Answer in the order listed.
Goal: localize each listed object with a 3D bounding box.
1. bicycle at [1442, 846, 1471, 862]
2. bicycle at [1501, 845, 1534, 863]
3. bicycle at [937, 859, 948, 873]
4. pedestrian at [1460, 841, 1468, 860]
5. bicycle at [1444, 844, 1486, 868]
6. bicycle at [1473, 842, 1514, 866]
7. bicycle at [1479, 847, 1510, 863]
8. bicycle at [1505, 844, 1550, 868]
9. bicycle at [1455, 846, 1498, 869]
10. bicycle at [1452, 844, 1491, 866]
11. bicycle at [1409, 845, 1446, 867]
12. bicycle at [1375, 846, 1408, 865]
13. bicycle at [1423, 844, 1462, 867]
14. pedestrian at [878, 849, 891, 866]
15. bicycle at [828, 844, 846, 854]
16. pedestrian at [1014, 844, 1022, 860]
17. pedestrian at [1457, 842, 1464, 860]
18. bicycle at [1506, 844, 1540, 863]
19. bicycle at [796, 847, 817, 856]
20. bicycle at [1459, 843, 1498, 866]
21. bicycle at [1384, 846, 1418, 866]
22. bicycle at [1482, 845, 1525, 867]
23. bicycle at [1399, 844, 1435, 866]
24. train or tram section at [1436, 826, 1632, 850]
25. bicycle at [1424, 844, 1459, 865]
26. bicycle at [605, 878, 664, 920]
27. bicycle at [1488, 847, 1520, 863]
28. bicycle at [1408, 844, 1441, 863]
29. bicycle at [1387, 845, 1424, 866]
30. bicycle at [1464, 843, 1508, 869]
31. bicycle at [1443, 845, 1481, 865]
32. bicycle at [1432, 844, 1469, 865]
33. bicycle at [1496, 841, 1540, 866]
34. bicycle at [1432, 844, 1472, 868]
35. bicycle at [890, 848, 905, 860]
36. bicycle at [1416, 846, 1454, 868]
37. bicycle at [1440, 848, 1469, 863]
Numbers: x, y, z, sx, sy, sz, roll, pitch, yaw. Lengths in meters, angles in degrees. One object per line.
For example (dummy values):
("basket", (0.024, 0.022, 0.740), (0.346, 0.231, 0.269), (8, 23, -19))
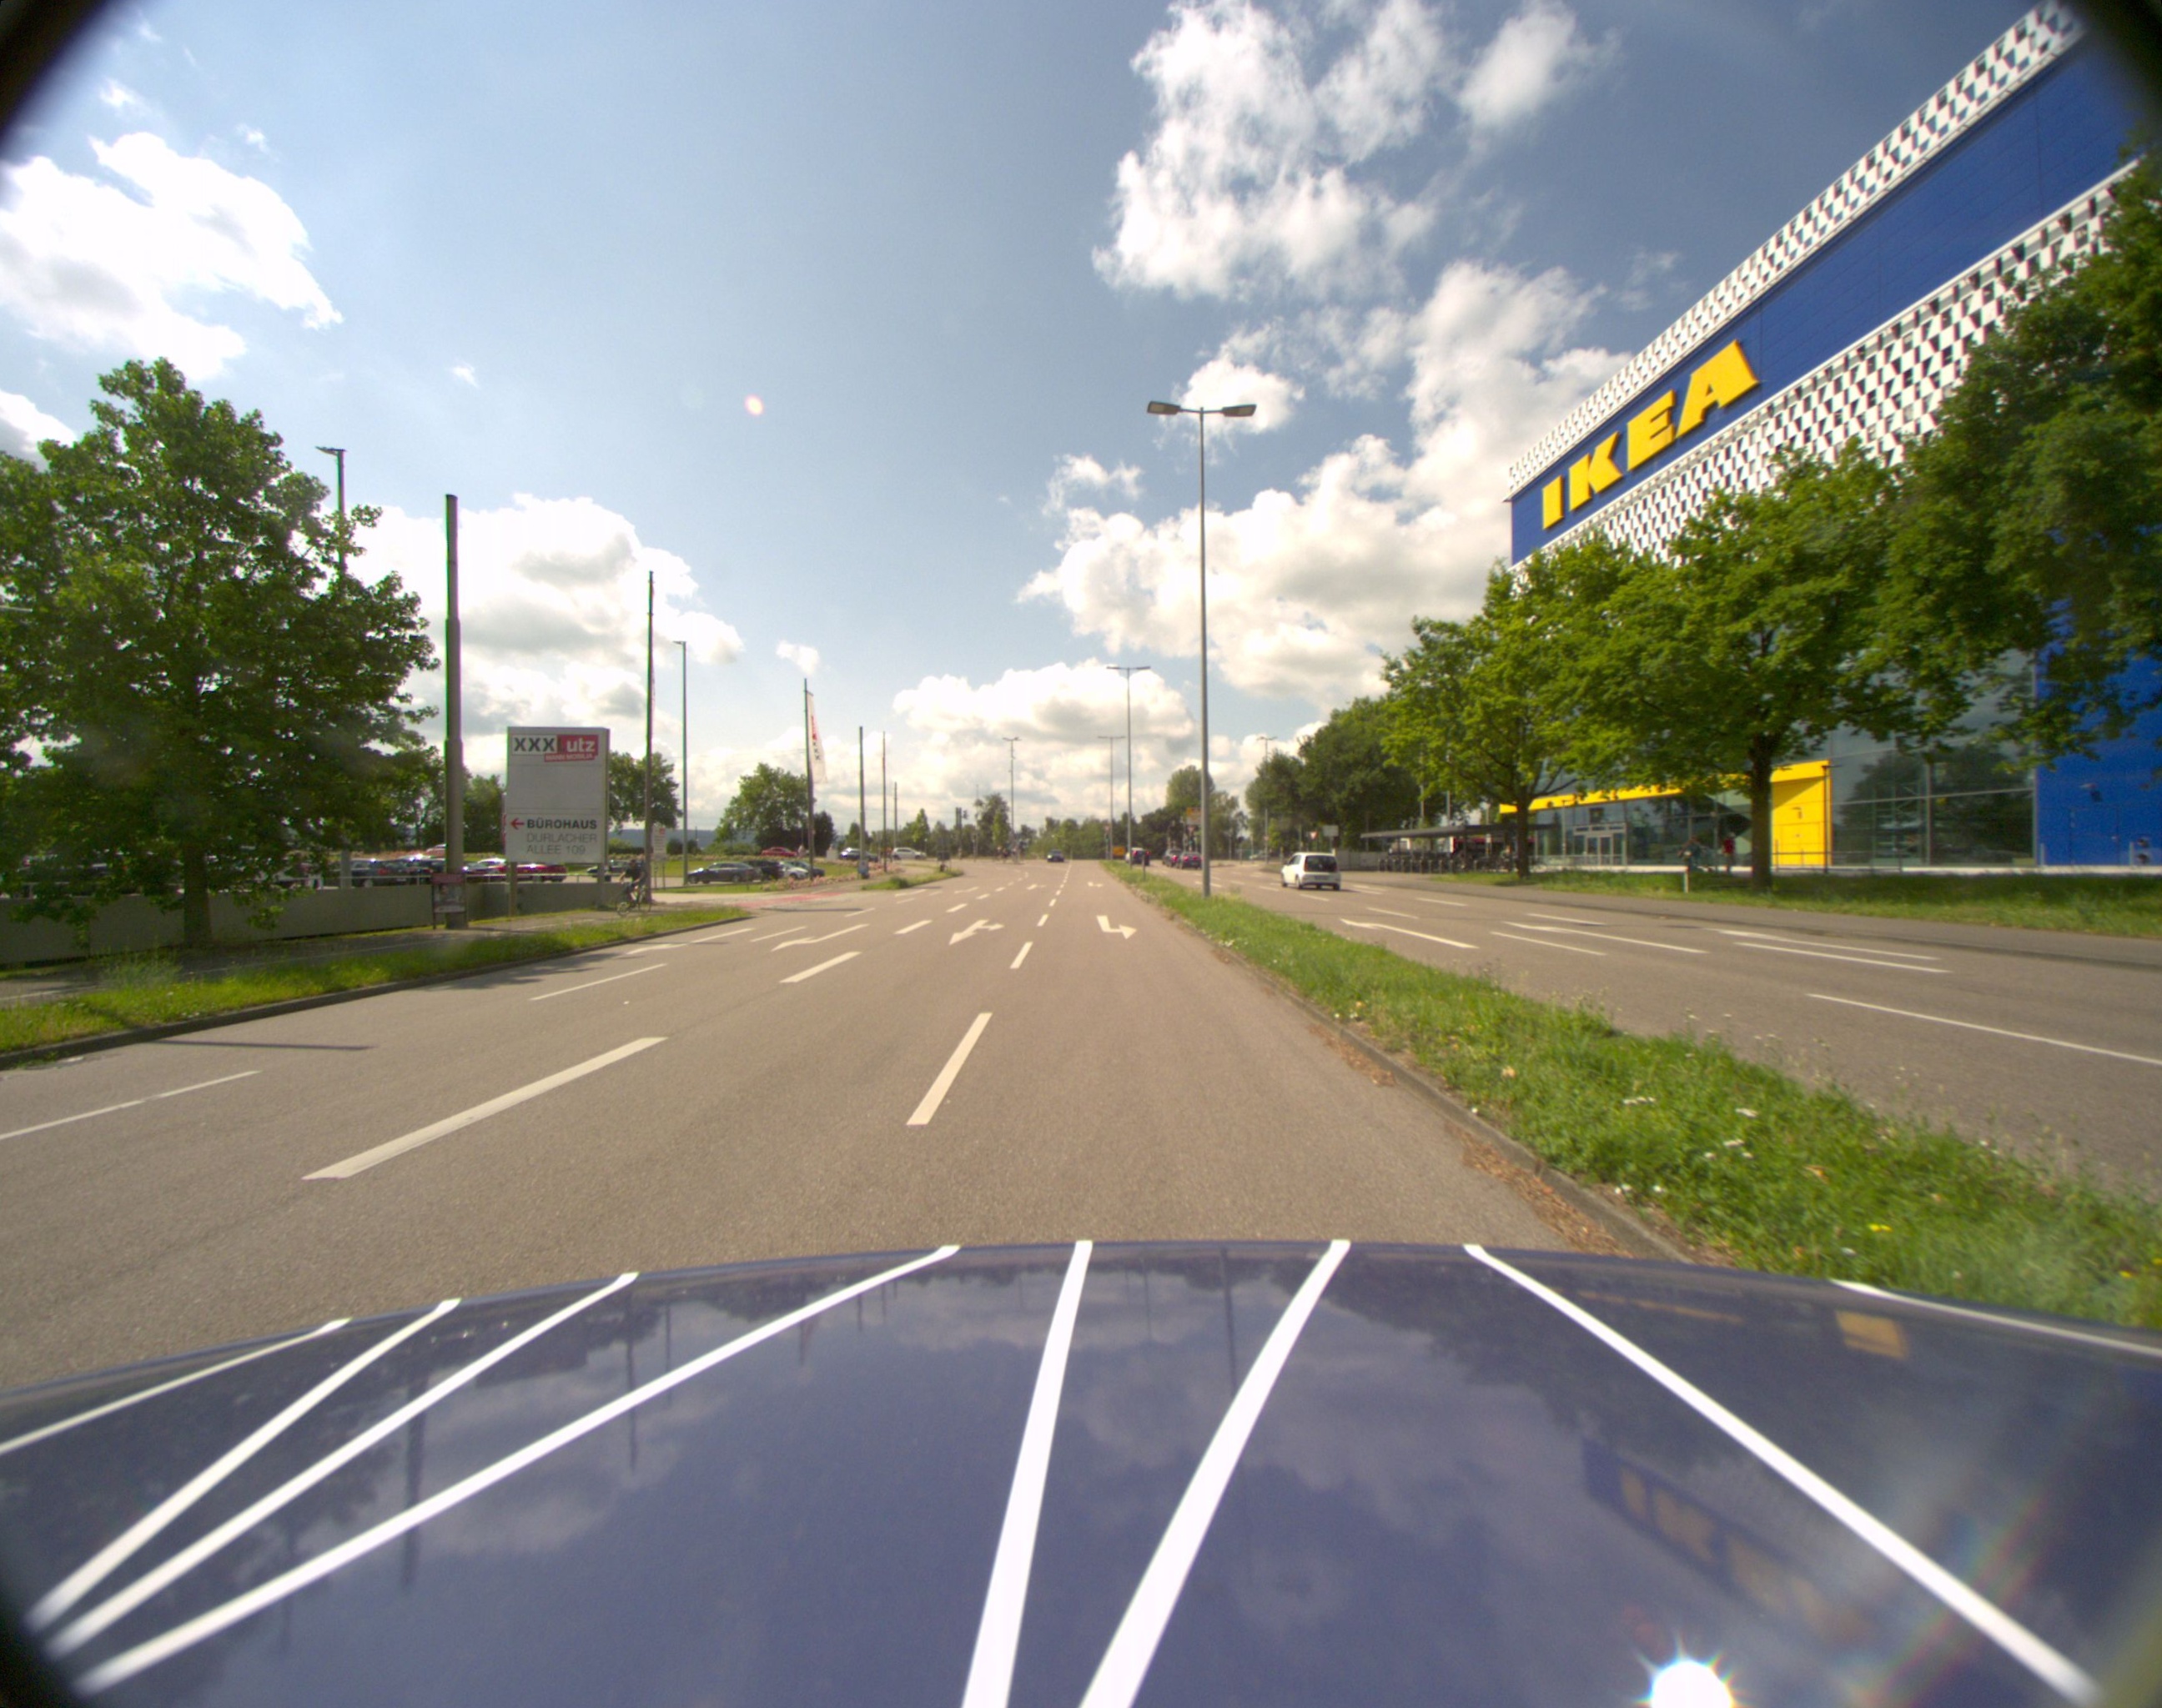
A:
("bicycle", (28.069, 0.028, 56.850), (1.961, 1.165, 0.467), (-1, 0, -4))
("bicycle", (29.013, 0.003, 50.553), (1.939, 1.203, 0.529), (-1, 1, -4))
("bicycle", (-10.074, 0.852, 55.418), (0.518, 0.947, 1.543), (-1, 1, 0))
("pedestrian", (35.676, -0.316, 70.731), (0.410, 1.693, 0.516), (-1, 0, -6))
("bicycle", (20.869, 0.112, 41.280), (1.930, 1.265, 0.629), (-1, 0, 0))
("bicycle", (23.071, 0.014, 42.555), (1.930, 1.265, 0.629), (-1, 0, 0))
("bicycle", (28.874, 0.045, 53.056), (1.935, 1.083, 0.520), (-1, 0, -4))
("bicycle", (23.006, 0.101, 39.156), (1.930, 1.177, 0.629), (-1, 0, 0))
("bicycle", (20.876, 0.176, 40.128), (1.930, 1.176, 0.629), (-1, 0, 0))
("bicycle", (23.143, 0.061, 45.024), (1.930, 1.265, 0.629), (-1, 0, 0))
("bicycle", (21.021, 0.106, 46.092), (1.930, 1.265, 0.629), (-1, 0, 0))
("bicycle", (20.855, 0.101, 51.025), (1.930, 1.265, 0.629), (-1, 0, 0))
("bicycle", (20.922, 0.095, 43.937), (1.930, 1.265, 0.629), (-1, 0, 0))
("pedestrian", (-20.300, 0.361, 78.552), (0.860, 1.755, 0.867), (-1, 1, 27))
("bicycle", (-25.569, -0.507, 79.681), (1.695, 0.955, 0.666), (-1, 0, 1))
("pedestrian", (-6.918, -0.245, 83.700), (0.688, 1.718, 0.701), (0, 2, 11))
("pedestrian", (35.587, -0.256, 71.311), (0.404, 1.693, 0.450), (-1, 0, -6))
("bicycle", (29.015, -0.050, 49.873), (1.950, 1.236, 0.597), (-1, 1, -4))
("bicycle", (-29.007, -0.255, 80.317), (1.985, 0.955, 0.597), (-1, 0, 4))
("bicycle", (23.019, 0.046, 44.016), (1.930, 1.265, 0.629), (-1, 0, 0))
("bicycle", (20.891, 0.117, 49.678), (1.930, 1.265, 0.629), (-1, 0, 0))
("bicycle", (22.911, 0.102, 41.234), (1.930, 1.172, 0.629), (-1, 0, 0))
("bicycle", (20.933, 0.065, 47.381), (1.930, 1.265, 0.629), (-1, 0, 0))
("train or tram section", (63.430, -2.193, 106.785), (25.113, 3.014, 4.529), (1, 0, -1))
("bicycle", (23.101, 0.052, 48.723), (1.930, 1.265, 0.629), (-1, 0, 0))
("bicycle", (-12.462, 1.230, 21.272), (0.625, 1.061, 1.967), (0, 0, -5))
("bicycle", (28.977, 0.047, 52.089), (1.939, 1.064, 0.529), (-1, 1, -4))
("bicycle", (23.069, -0.027, 51.024), (1.930, 1.265, 0.629), (-1, 0, 0))
("bicycle", (20.789, 0.116, 48.642), (2.094, 1.265, 0.629), (-1, 0, 0))
("bicycle", (20.792, 0.086, 39.033), (1.930, 1.265, 0.629), (-1, 0, 0))
("bicycle", (23.061, 0.071, 46.026), (1.930, 1.176, 0.629), (-1, 0, 0))
("bicycle", (23.038, 0.015, 47.400), (1.930, 1.265, 0.629), (-1, 0, 0))
("bicycle", (23.060, -0.004, 40.137), (1.930, 1.265, 0.629), (-1, 0, 0))
("bicycle", (20.762, 0.112, 42.546), (1.930, 1.265, 0.629), (-1, 0, 0))
("bicycle", (-19.594, 0.011, 81.091), (1.506, 1.158, 0.620), (-1, 0, -16))
("bicycle", (20.990, 0.177, 45.009), (1.930, 1.265, 0.629), (-1, 0, 0))
("bicycle", (28.462, 0.121, 57.912), (1.939, 1.064, 0.528), (-1, 1, -5))
